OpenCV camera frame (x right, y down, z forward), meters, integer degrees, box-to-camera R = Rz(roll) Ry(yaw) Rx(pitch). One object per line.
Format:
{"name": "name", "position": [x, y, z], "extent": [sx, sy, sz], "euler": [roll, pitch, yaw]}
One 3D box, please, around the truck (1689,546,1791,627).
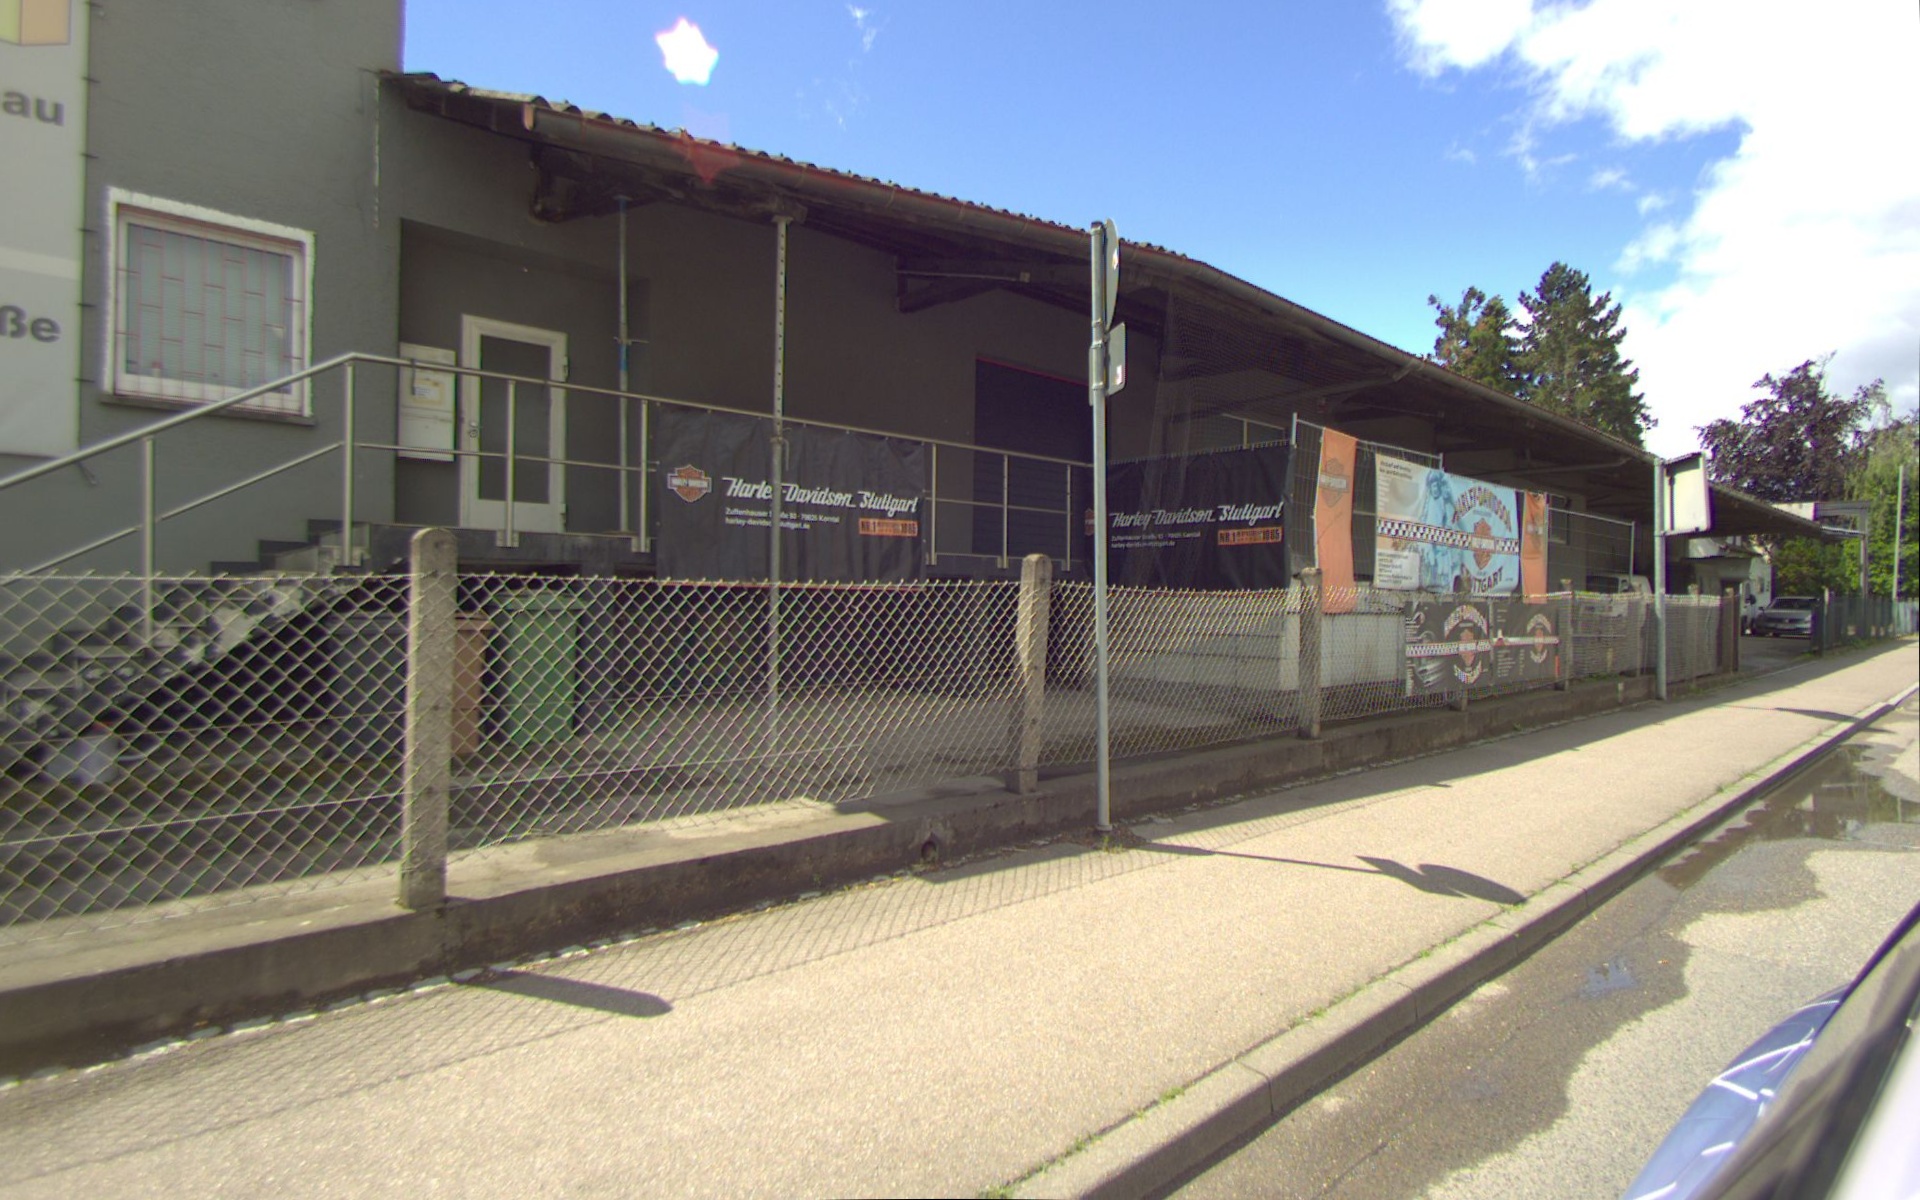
{"name": "truck", "position": [29.518, -0.512, 38.227], "extent": [5.112, 2.864, 2.089], "euler": [-1, 0, -41]}

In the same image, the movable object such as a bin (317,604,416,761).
{"name": "movable object such as a bin", "position": [-3.819, 0.505, 6.509], "extent": [0.466, 0.942, 0.482], "euler": [0, 0, -42]}

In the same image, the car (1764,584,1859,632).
{"name": "car", "position": [29.864, 0.228, 35.438], "extent": [5.114, 1.549, 1.860], "euler": [-1, 1, -42]}

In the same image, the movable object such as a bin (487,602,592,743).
{"name": "movable object such as a bin", "position": [-3.011, 0.493, 7.250], "extent": [0.574, 0.942, 0.482], "euler": [0, 0, -42]}

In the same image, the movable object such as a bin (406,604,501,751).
{"name": "movable object such as a bin", "position": [-3.436, 0.499, 6.859], "extent": [0.466, 0.942, 0.482], "euler": [0, 0, -42]}
